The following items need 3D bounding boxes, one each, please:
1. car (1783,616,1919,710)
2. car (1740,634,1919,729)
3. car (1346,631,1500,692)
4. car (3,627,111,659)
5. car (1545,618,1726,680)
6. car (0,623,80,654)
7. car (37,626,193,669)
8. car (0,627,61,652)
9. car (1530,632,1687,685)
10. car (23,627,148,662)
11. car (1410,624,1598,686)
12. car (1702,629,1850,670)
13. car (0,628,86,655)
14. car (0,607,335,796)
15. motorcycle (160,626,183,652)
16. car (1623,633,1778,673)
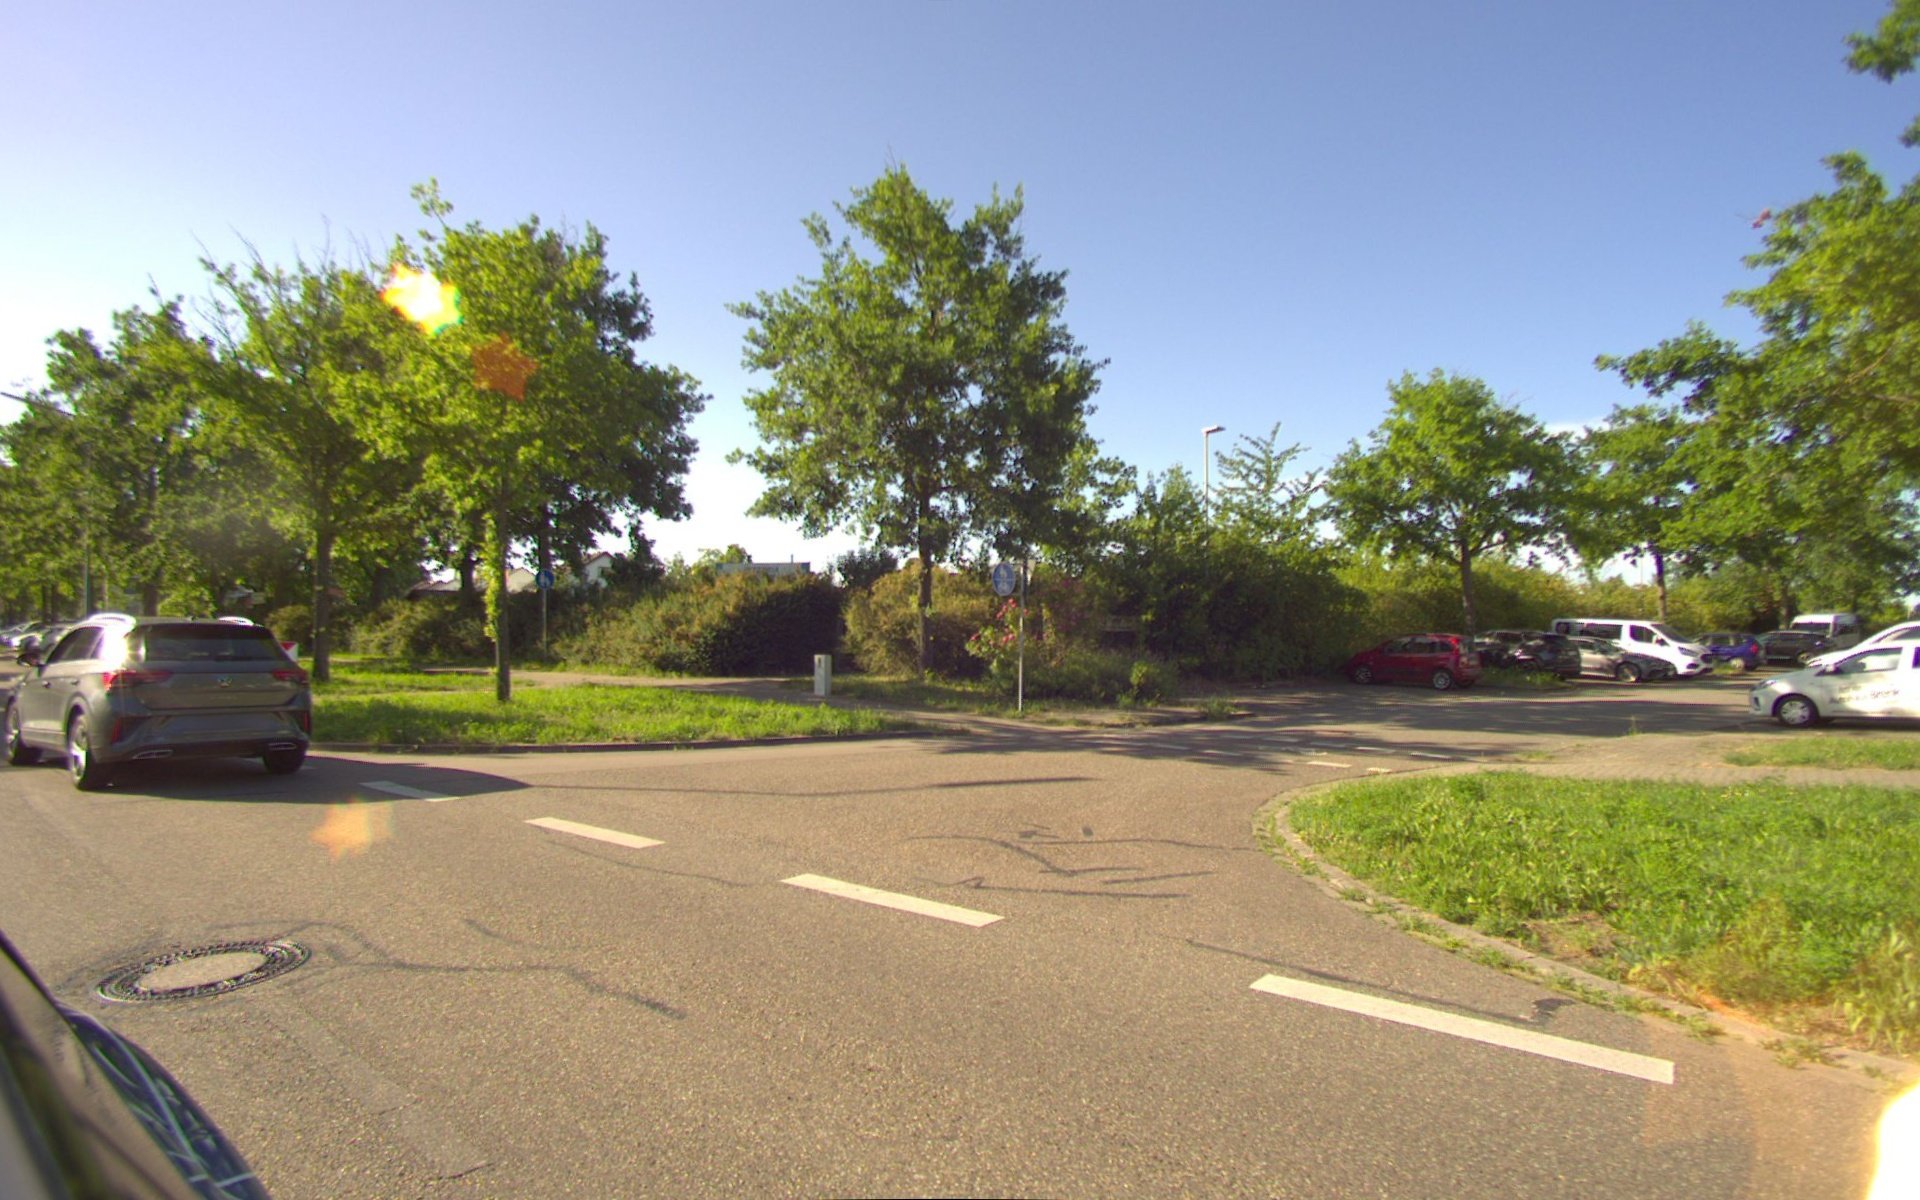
[{"bbox_3d":[19.982,1.211,19.887,2.271,1.831,5.452,2,-5,-38],"label":"car"},{"bbox_3d":[15.883,1.345,17.029,1.968,1.516,3.925,2,-5,-38],"label":"car"},{"bbox_3d":[13.144,1.697,28.870,1.776,1.516,3.559,2,-1,-38],"label":"car"},{"bbox_3d":[-49.662,2.324,55.701,2.089,1.568,4.362,-2,-1,44],"label":"car"},{"bbox_3d":[23.627,1.674,35.627,1.966,2.029,4.896,1,-2,-33],"label":"car"},{"bbox_3d":[-60.601,2.498,66.394,1.999,1.898,4.181,-2,-1,43],"label":"car"},{"bbox_3d":[-34.395,1.907,41.307,2.189,1.570,4.581,-2,-1,39],"label":"car"},{"bbox_3d":[-64.749,2.721,69.841,4.016,1.655,1.877,0,-1,-45],"label":"car"},{"bbox_3d":[21.519,1.889,33.679,1.969,1.625,4.007,2,-3,-42],"label":"car"},{"bbox_3d":[-42.067,2.131,48.767,2.088,1.522,4.365,-2,-1,42],"label":"car"},{"bbox_3d":[17.114,1.697,32.108,1.966,1.798,4.896,1,-2,-33],"label":"car"},{"bbox_3d":[37.301,2.219,46.397,1.966,1.787,4.896,1,-2,-33],"label":"car"},{"bbox_3d":[-56.925,2.546,62.688,1.866,1.568,4.089,-2,-1,44],"label":"car"},{"bbox_3d":[-8.398,0.935,10.402,4.487,1.548,1.788,-2,-4,37],"label":"car"},{"bbox_3d":[-46.133,2.264,59.173,1.991,1.443,0.729,-2,1,44],"label":"motorcycle"},{"bbox_3d":[31.172,2.208,42.755,1.966,1.581,4.896,1,-2,-33],"label":"car"}]
